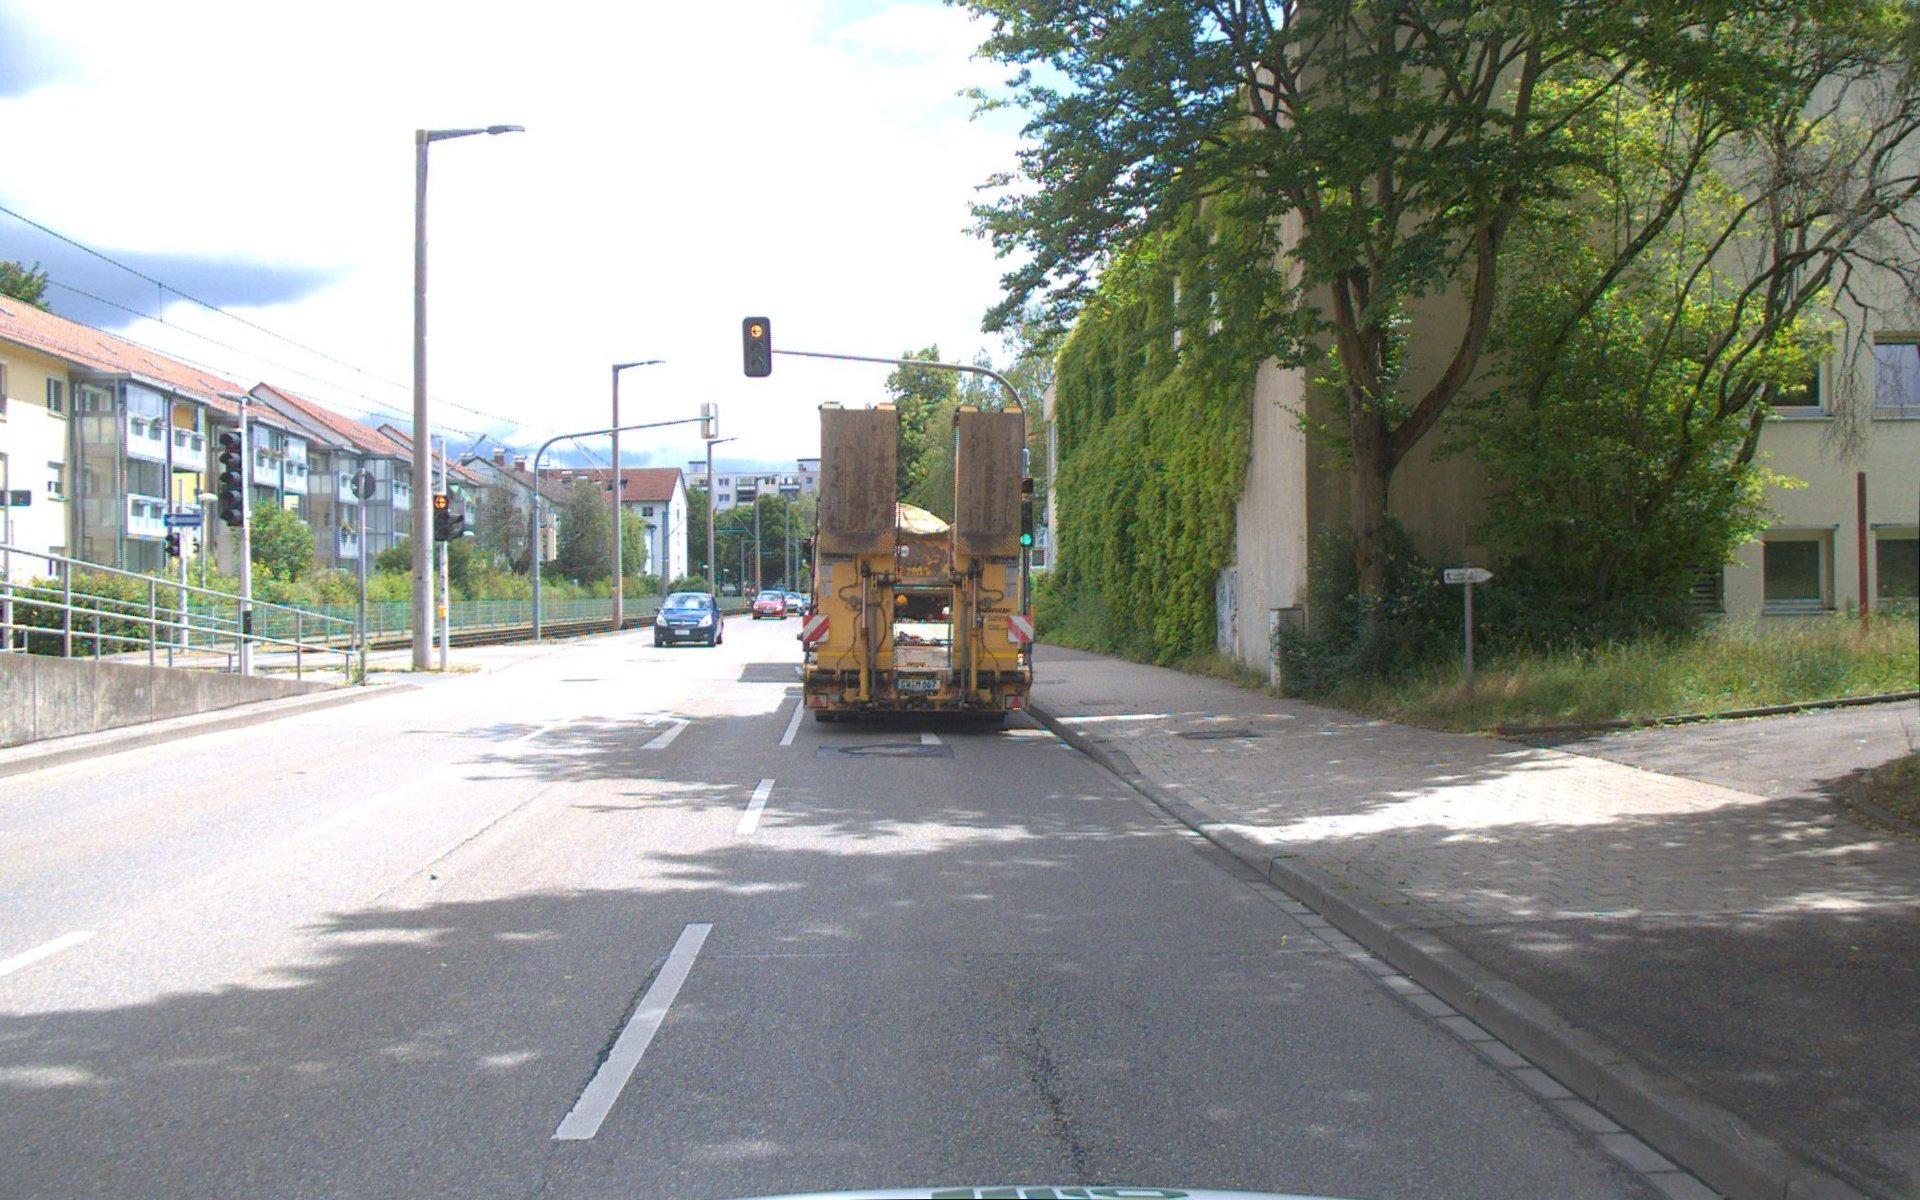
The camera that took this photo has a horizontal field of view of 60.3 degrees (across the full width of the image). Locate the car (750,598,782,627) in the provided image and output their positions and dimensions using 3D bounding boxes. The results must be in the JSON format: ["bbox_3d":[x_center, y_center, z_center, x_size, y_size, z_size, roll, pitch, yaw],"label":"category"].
[{"bbox_3d":[-10.941,0.690,93.337,1.631,1.579,3.996,1,0,-5],"label":"car"}]

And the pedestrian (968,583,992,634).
[{"bbox_3d":[0.712,0.302,59.111,0.792,1.802,0.817,1,-1,3],"label":"pedestrian"}]

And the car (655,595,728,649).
[{"bbox_3d":[-7.523,0.600,46.668,1.684,1.466,4.005,0,0,-4],"label":"car"}]

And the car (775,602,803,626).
[{"bbox_3d":[-11.233,0.910,108.743,1.726,1.579,3.995,0,0,-6],"label":"car"}]

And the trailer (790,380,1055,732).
[{"bbox_3d":[-0.931,-0.437,23.820,2.772,3.710,12.340,1,0,-5],"label":"trailer"}]
